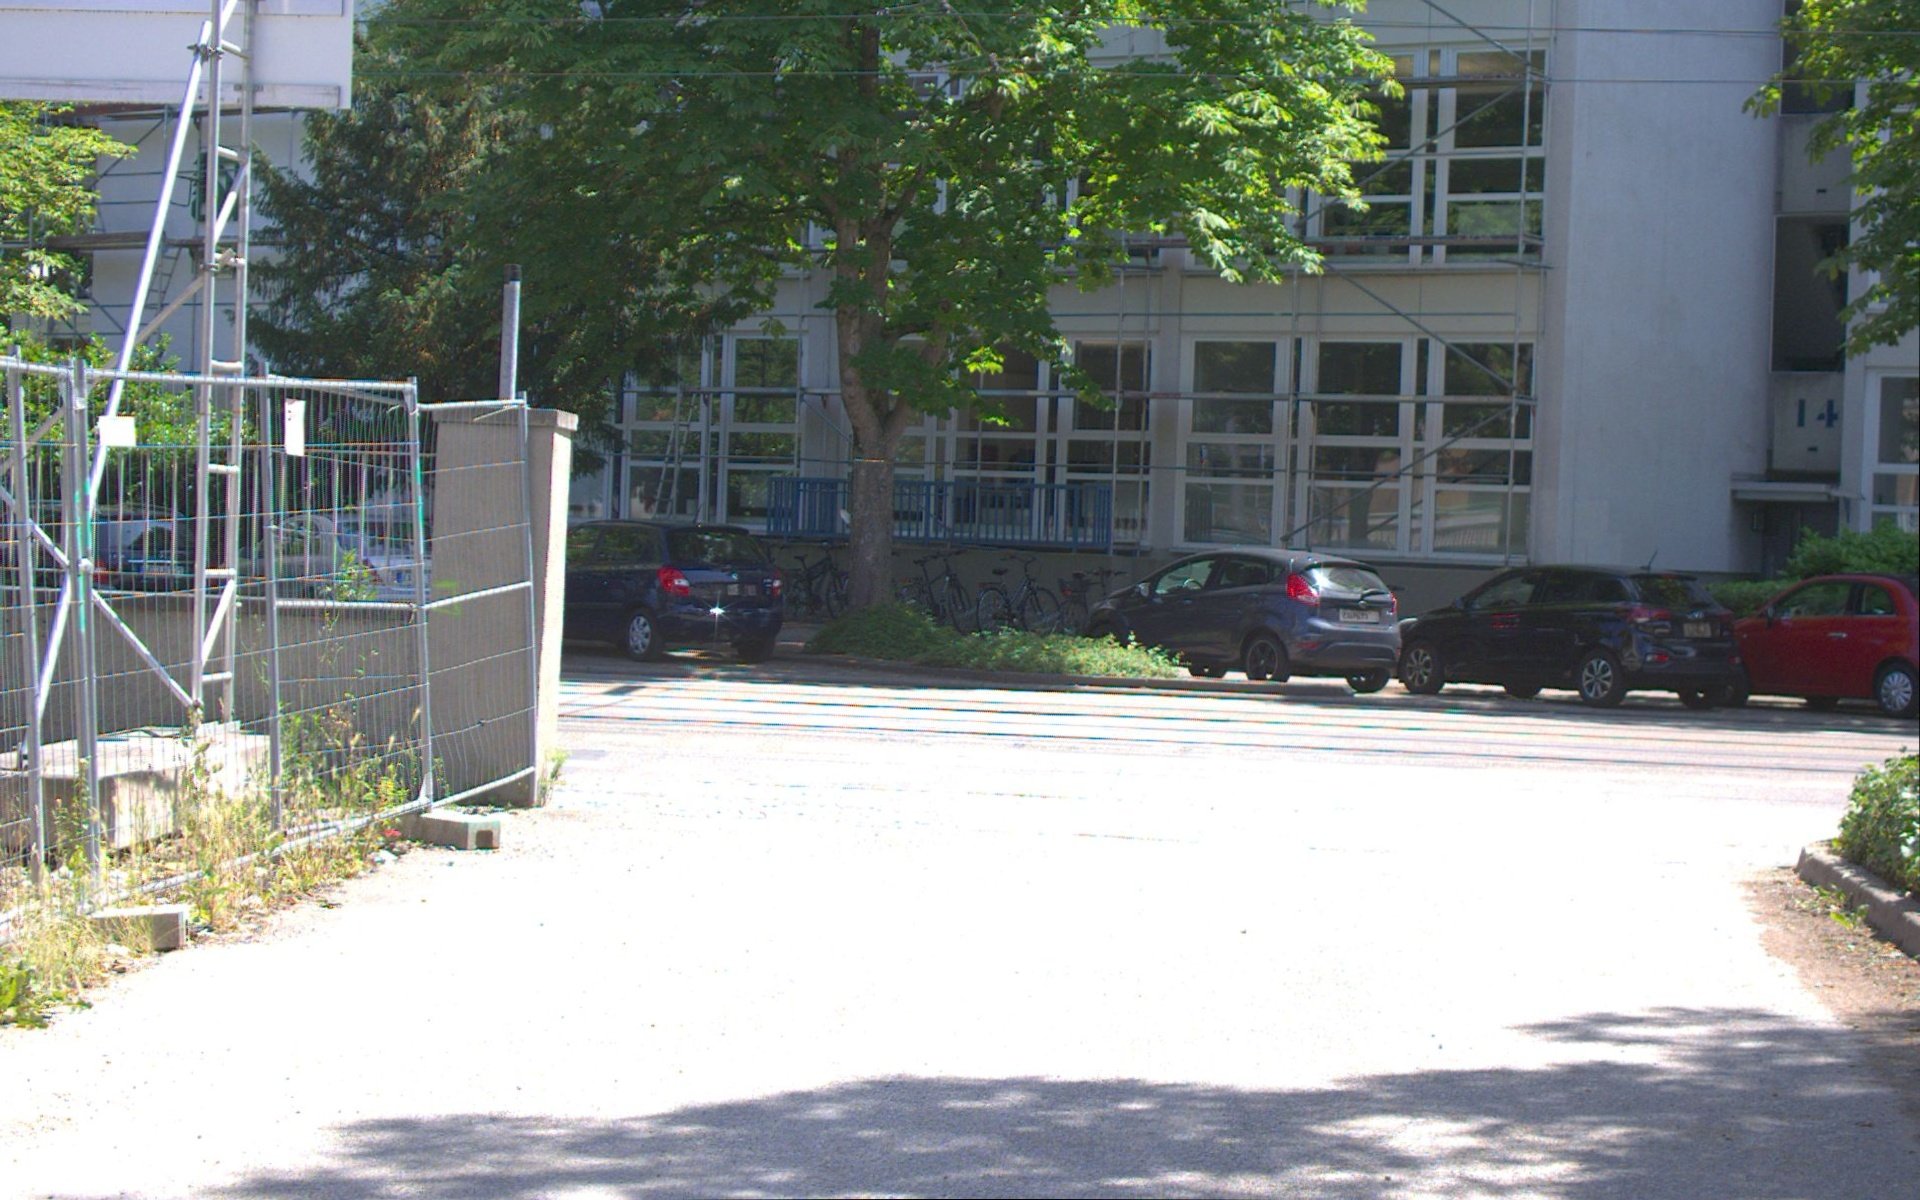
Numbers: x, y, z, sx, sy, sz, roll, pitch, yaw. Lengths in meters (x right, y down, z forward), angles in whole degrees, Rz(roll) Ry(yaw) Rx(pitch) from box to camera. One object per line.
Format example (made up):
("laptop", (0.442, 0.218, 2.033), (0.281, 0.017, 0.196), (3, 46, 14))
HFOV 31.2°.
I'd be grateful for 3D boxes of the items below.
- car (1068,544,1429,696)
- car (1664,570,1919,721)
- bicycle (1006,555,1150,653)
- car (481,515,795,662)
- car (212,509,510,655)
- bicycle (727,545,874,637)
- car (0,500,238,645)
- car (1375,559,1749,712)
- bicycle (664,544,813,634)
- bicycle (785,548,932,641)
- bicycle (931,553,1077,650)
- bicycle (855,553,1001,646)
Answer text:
("car", (3.047, 0.191, 36.808), (1.640, 1.458, 3.676), (1, 1, -43))
("car", (9.350, 0.455, 36.200), (1.607, 1.432, 3.602), (1, 1, -36))
("bicycle", (1.508, 0.045, 43.377), (0.782, 1.184, 2.428), (2, 1, 29))
("car", (-3.536, -0.141, 37.239), (1.633, 1.458, 3.677), (1, 1, -38))
("car", (-6.571, -0.217, 37.493), (1.633, 1.458, 3.677), (1, 1, -38))
("bicycle", (-2.086, -0.122, 45.263), (0.782, 1.154, 2.381), (2, 1, 29))
("car", (-9.438, -0.325, 37.388), (1.633, 1.458, 3.677), (1, 1, -38))
("car", (6.304, 0.349, 36.283), (1.607, 1.440, 3.677), (1, 1, -40))
("bicycle", (-2.927, -0.147, 45.720), (0.782, 1.154, 2.381), (2, 1, 29))
("bicycle", (-1.310, -0.076, 44.847), (0.782, 1.154, 2.381), (2, 1, 29))
("bicycle", (0.578, 0.012, 43.862), (0.782, 1.184, 2.428), (2, 1, 29))
("bicycle", (-0.398, -0.009, 44.355), (0.782, 1.154, 2.381), (2, 1, 29))
